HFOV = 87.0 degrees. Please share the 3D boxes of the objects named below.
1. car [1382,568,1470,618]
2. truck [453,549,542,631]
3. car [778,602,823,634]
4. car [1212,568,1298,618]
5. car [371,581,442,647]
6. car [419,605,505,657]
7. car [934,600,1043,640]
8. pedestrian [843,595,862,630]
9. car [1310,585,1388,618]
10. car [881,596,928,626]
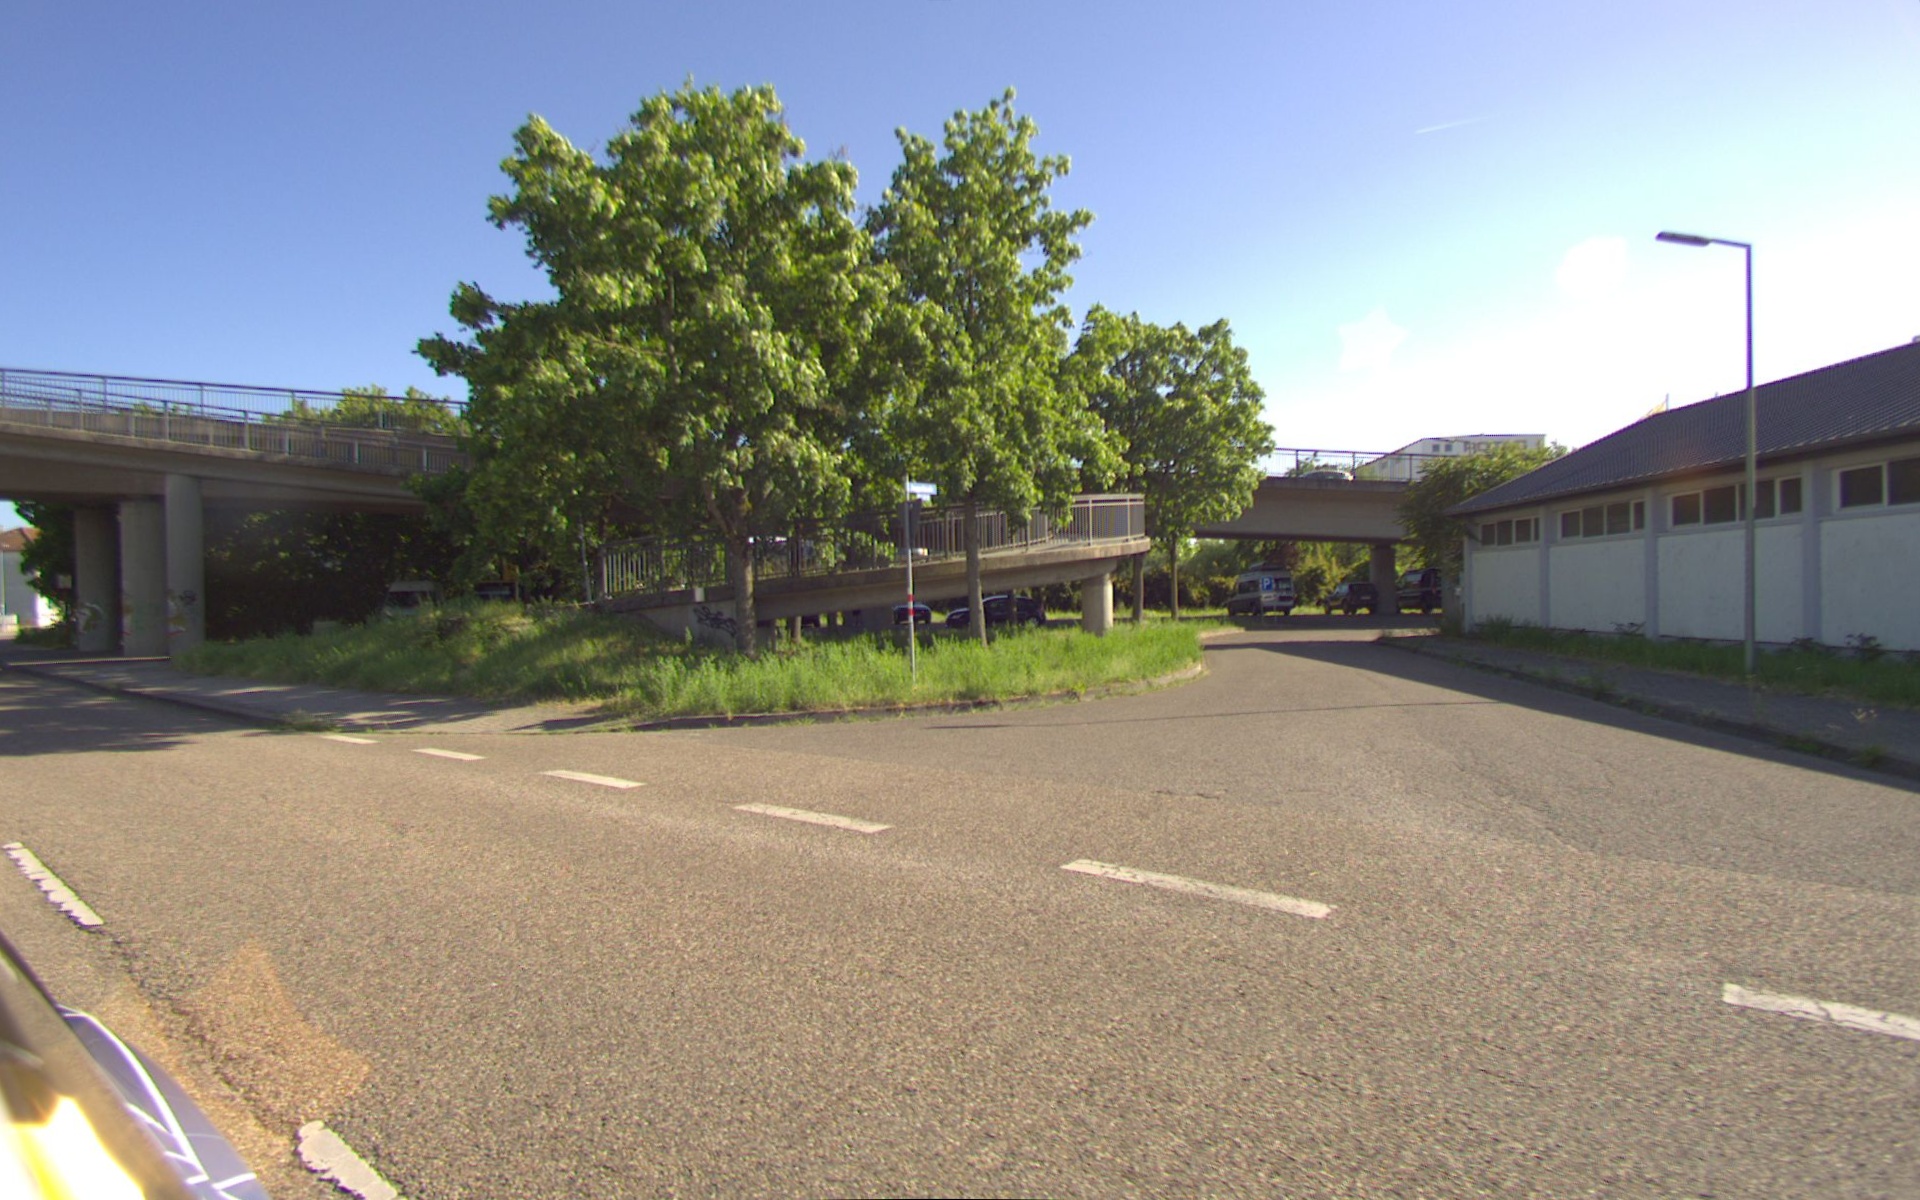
[{"bbox_3d":[24.740,-0.354,54.002,1.970,2.492,5.207,-1,0,-3],"label":"car"},{"bbox_3d":[-21.910,-0.428,48.308,2.441,3.578,7.989,-1,0,-14],"label":"truck"},{"bbox_3d":[-8.002,0.871,50.459,1.711,1.453,4.263,-1,0,-15],"label":"car"},{"bbox_3d":[15.706,-0.342,54.361,1.969,2.525,6.416,-1,0,-7],"label":"car"},{"bbox_3d":[-24.461,0.655,44.902,1.913,2.702,6.028,-1,-1,-21],"label":"car"},{"bbox_3d":[-17.201,1.085,35.154,1.838,1.654,4.294,2,-2,-16],"label":"car"},{"bbox_3d":[1.172,0.814,42.354,4.226,1.564,1.688,-1,0,-14],"label":"car"},{"bbox_3d":[-5.182,0.610,48.623,0.663,1.675,0.706,-1,0,19],"label":"pedestrian"},{"bbox_3d":[20.673,0.092,54.000,1.969,1.656,4.492,-1,0,-7],"label":"car"},{"bbox_3d":[-2.849,0.537,51.236,1.711,1.453,4.261,-1,0,-12],"label":"car"}]
